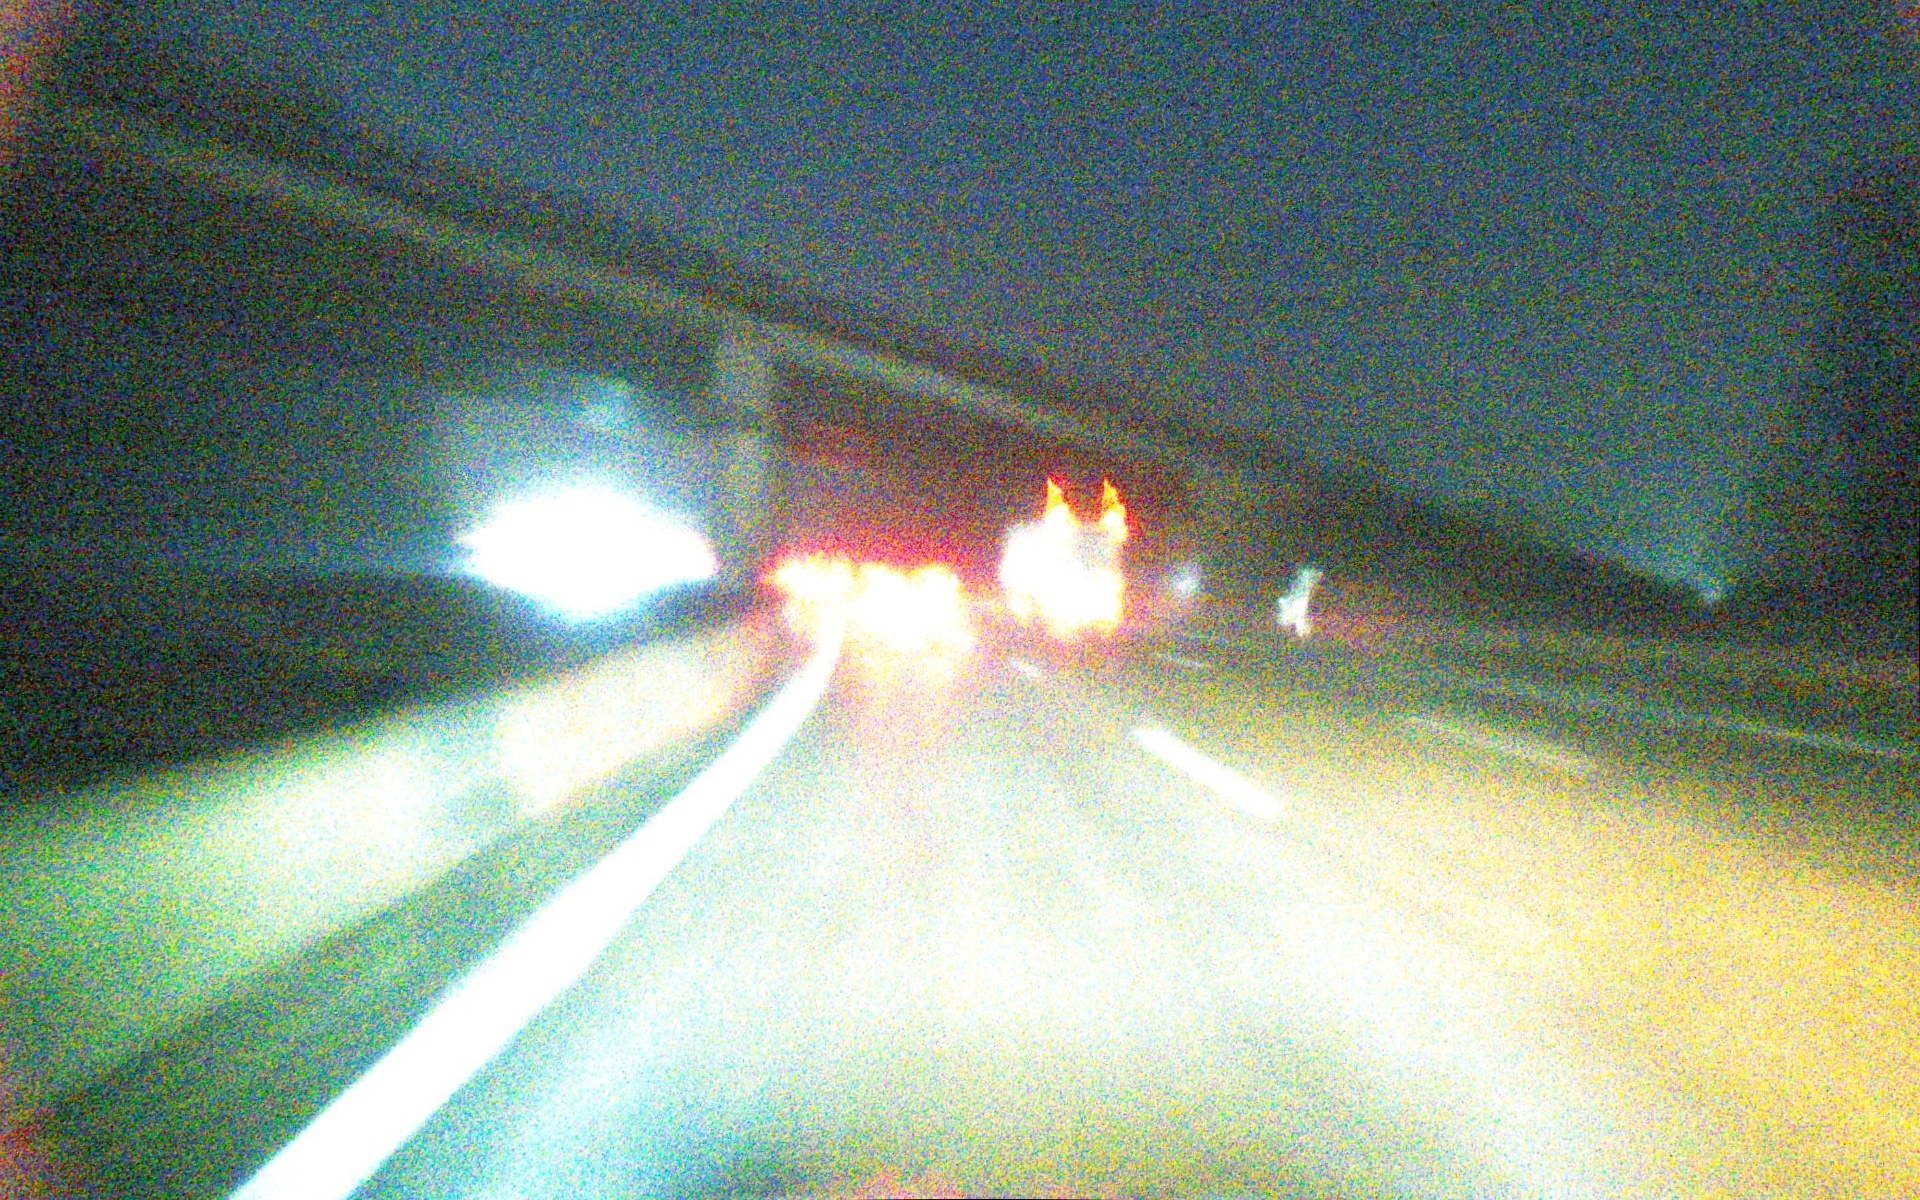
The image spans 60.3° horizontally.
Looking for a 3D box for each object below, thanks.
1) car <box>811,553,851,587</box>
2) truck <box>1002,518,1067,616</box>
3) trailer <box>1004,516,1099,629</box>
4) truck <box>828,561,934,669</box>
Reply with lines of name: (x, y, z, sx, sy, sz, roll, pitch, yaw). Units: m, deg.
car: (-7.886, -1.813, 101.061, 1.958, 2.049, 3.988, 0, 0, -12)
truck: (3.412, -1.546, 77.018, 2.655, 4.315, 5.293, 1, 1, 0)
trailer: (3.700, -1.289, 70.498, 2.684, 4.321, 13.367, -1, 2, -3)
truck: (-1.792, 0.254, 39.690, 2.102, 2.112, 6.604, 5, 2, -1)
